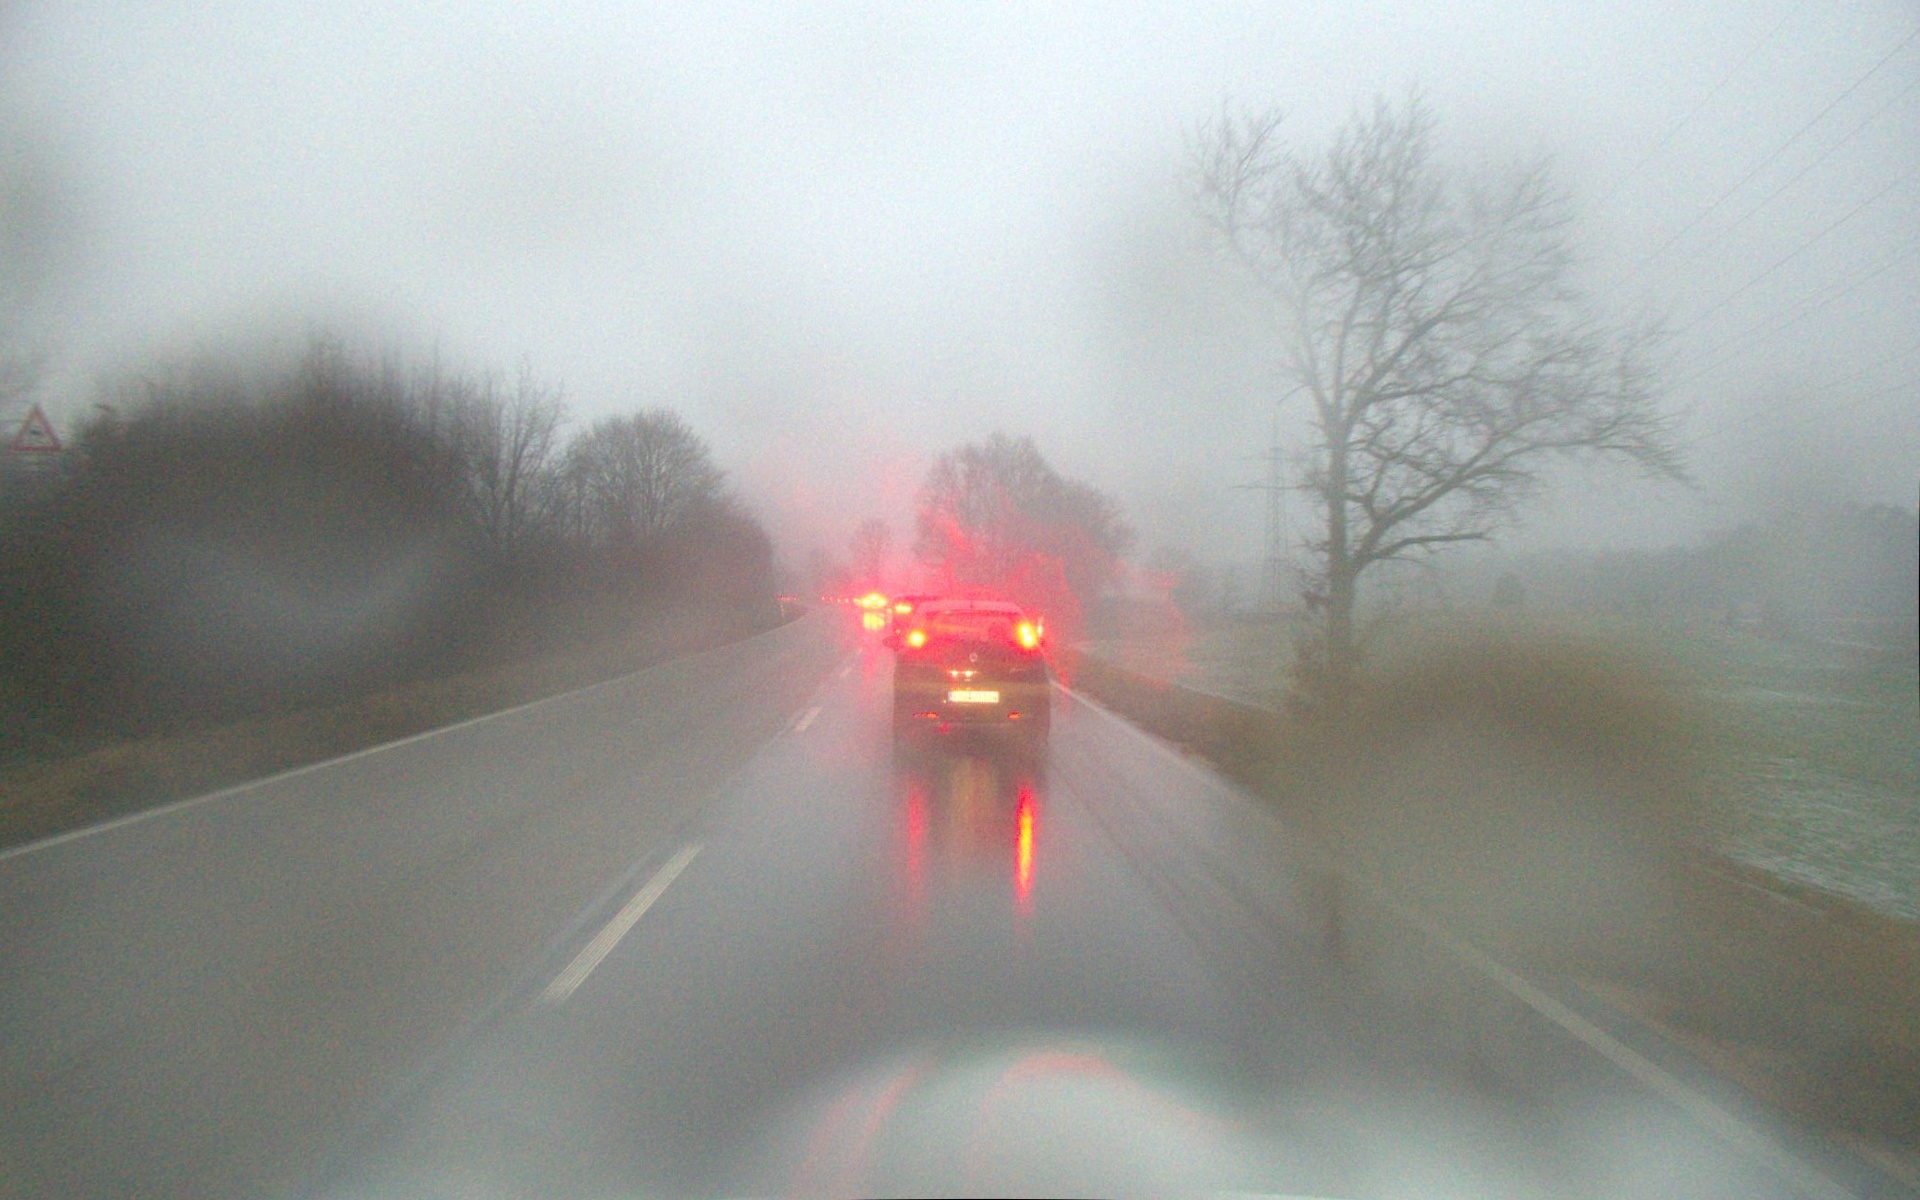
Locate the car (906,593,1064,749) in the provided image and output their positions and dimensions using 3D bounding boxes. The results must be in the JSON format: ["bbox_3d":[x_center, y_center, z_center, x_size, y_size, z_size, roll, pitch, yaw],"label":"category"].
[{"bbox_3d":[0.228,0.723,18.638,1.570,1.549,3.868,1,0,-1],"label":"car"}]

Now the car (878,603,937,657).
[{"bbox_3d":[-1.495,0.804,46.032,1.516,1.421,3.866,1,0,-4],"label":"car"}]

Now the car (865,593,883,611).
[{"bbox_3d":[-7.352,0.172,141.185,1.516,1.421,3.867,1,0,-3],"label":"car"}]
